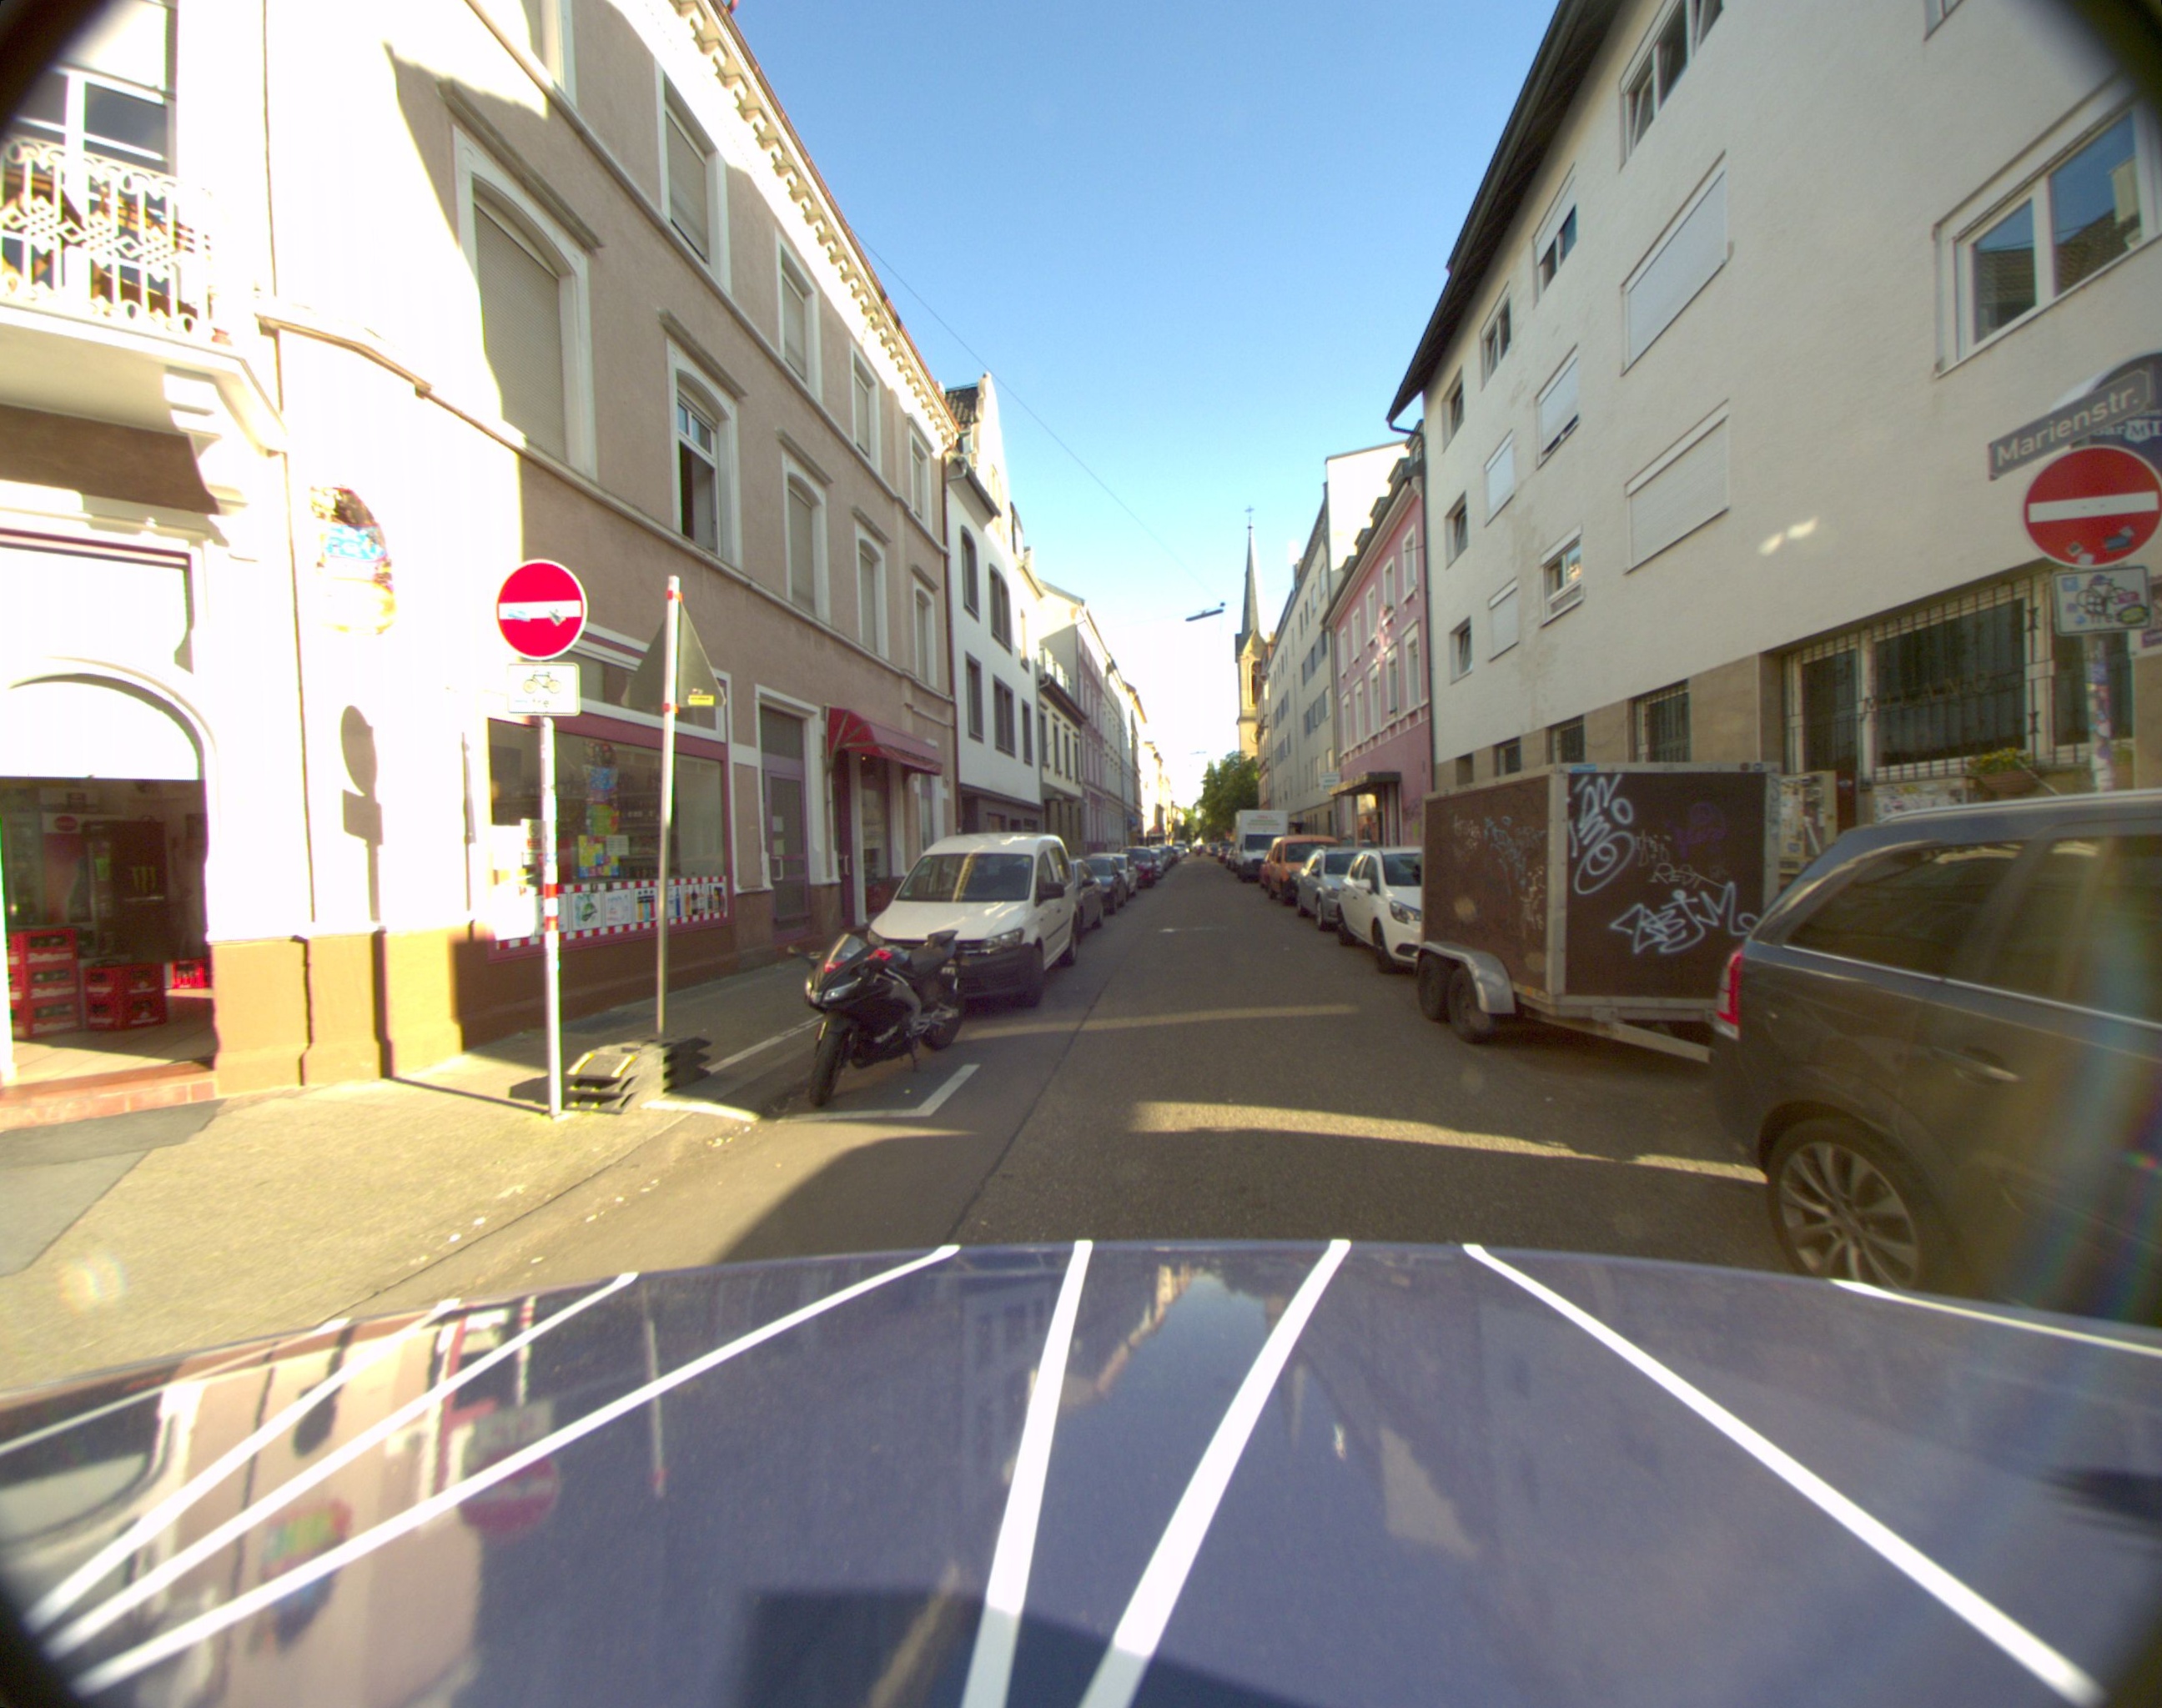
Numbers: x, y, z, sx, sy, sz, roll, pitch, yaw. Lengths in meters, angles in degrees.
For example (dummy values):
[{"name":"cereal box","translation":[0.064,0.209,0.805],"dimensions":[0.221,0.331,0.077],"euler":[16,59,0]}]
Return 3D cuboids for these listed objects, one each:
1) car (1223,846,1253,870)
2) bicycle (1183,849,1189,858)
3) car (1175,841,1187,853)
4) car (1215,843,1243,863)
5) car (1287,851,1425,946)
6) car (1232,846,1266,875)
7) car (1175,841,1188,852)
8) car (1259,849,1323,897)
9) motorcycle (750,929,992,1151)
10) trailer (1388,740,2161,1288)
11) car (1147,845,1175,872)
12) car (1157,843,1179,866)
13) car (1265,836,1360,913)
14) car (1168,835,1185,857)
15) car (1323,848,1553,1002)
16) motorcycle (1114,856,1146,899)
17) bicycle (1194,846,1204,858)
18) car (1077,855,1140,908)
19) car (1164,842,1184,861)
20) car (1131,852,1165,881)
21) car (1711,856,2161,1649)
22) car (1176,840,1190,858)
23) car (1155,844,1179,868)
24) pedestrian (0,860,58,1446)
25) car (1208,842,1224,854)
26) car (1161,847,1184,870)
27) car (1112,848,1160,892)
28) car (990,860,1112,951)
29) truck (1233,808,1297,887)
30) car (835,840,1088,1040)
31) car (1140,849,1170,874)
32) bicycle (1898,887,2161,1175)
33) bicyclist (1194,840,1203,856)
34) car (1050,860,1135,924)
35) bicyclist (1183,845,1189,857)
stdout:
[{"name":"car","translation":[10.322,0.237,50.168],"dimensions":[1.686,1.482,3.916],"euler":[1,1,8]},{"name":"bicycle","translation":[15.396,-0.097,111.564],"dimensions":[0.728,1.173,2.490],"euler":[-3,1,6]},{"name":"car","translation":[17.934,-1.285,136.451],"dimensions":[1.998,2.002,4.565],"euler":[-3,1,5]},{"name":"car","translation":[13.024,-0.122,67.234],"dimensions":[1.926,1.522,4.565],"euler":[-3,1,5]},{"name":"car","translation":[5.177,0.736,14.902],"dimensions":[1.676,1.488,4.533],"euler":[0,1,8]},{"name":"car","translation":[9.816,0.329,44.631],"dimensions":[1.686,1.579,3.916],"euler":[1,1,8]},{"name":"car","translation":[18.789,-1.397,142.053],"dimensions":[1.998,2.002,4.565],"euler":[-3,1,5]},{"name":"car","translation":[7.169,0.604,26.256],"dimensions":[1.686,1.458,3.662],"euler":[-1,1,8]},{"name":"motorcycle","translation":[-1.447,1.242,5.693],"dimensions":[0.719,1.080,1.999],"euler":[2,3,19]},{"name":"trailer","translation":[3.550,0.568,5.066],"dimensions":[1.665,2.049,4.365],"euler":[0,1,6]},{"name":"car","translation":[5.519,0.295,51.905],"dimensions":[1.712,1.721,4.222],"euler":[0,1,8]},{"name":"car","translation":[7.347,0.037,63.836],"dimensions":[1.712,1.802,4.222],"euler":[0,1,8]},{"name":"car","translation":[6.054,0.459,20.332],"dimensions":[1.805,1.834,4.246],"euler":[-1,1,8]},{"name":"car","translation":[12.793,-1.096,102.442],"dimensions":[1.998,2.777,4.565],"euler":[-3,1,5]},{"name":"car","translation":[4.337,0.730,9.879],"dimensions":[1.680,1.546,3.820],"euler":[0,1,8]},{"name":"motorcycle","translation":[1.845,0.843,28.307],"dimensions":[0.989,1.481,2.269],"euler":[0,1,8]},{"name":"bicycle","translation":[17.058,-0.364,109.766],"dimensions":[1.019,1.641,3.548],"euler":[-3,1,4]},{"name":"car","translation":[0.953,0.842,24.687],"dimensions":[1.619,1.496,3.774],"euler":[0,1,8]},{"name":"car","translation":[10.364,-0.331,85.184],"dimensions":[1.998,2.002,4.565],"euler":[-3,1,5]},{"name":"car","translation":[3.627,0.620,40.582],"dimensions":[1.611,1.388,3.883],"euler":[0,1,8]},{"name":"car","translation":[2.958,0.820,0.672],"dimensions":[1.725,1.596,4.168],"euler":[0,0,7]},{"name":"car","translation":[17.135,-0.876,128.159],"dimensions":[1.998,2.777,4.565],"euler":[-3,1,5]},{"name":"car","translation":[6.681,0.129,58.619],"dimensions":[1.712,1.721,4.222],"euler":[0,1,8]},{"name":"pedestrian","translation":[-3.663,0.918,1.894],"dimensions":[0.828,1.782,0.989],"euler":[0,2,-6]},{"name":"car","translation":[19.717,-0.908,111.298],"dimensions":[1.926,1.522,4.565],"euler":[-3,1,5]},{"name":"car","translation":[8.702,0.372,72.518],"dimensions":[1.997,2.002,4.565],"euler":[-3,1,6]},{"name":"car","translation":[2.439,0.630,32.661],"dimensions":[1.712,1.721,4.410],"euler":[0,1,8]},{"name":"car","translation":[-0.430,0.863,14.490],"dimensions":[1.611,1.400,3.883],"euler":[0,1,8]},{"name":"truck","translation":[8.206,-0.317,34.536],"dimensions":[2.295,3.165,7.048],"euler":[-1,1,10]},{"name":"car","translation":[-1.093,0.741,9.125],"dimensions":[1.751,1.806,4.372],"euler":[0,1,8]},{"name":"car","translation":[4.557,0.439,46.598],"dimensions":[1.611,1.444,3.883],"euler":[0,1,8]},{"name":"bicycle","translation":[4.858,0.775,3.531],"dimensions":[0.577,1.132,1.461],"euler":[-3,1,3]},{"name":"bicyclist","translation":[17.019,-0.889,109.694],"dimensions":[1.019,2.280,1.532],"euler":[-3,1,4]},{"name":"car","translation":[0.403,0.911,19.867],"dimensions":[1.735,1.388,3.883],"euler":[0,1,8]},{"name":"bicyclist","translation":[15.374,-0.447,111.571],"dimensions":[0.715,1.650,0.877],"euler":[-3,1,6]}]
